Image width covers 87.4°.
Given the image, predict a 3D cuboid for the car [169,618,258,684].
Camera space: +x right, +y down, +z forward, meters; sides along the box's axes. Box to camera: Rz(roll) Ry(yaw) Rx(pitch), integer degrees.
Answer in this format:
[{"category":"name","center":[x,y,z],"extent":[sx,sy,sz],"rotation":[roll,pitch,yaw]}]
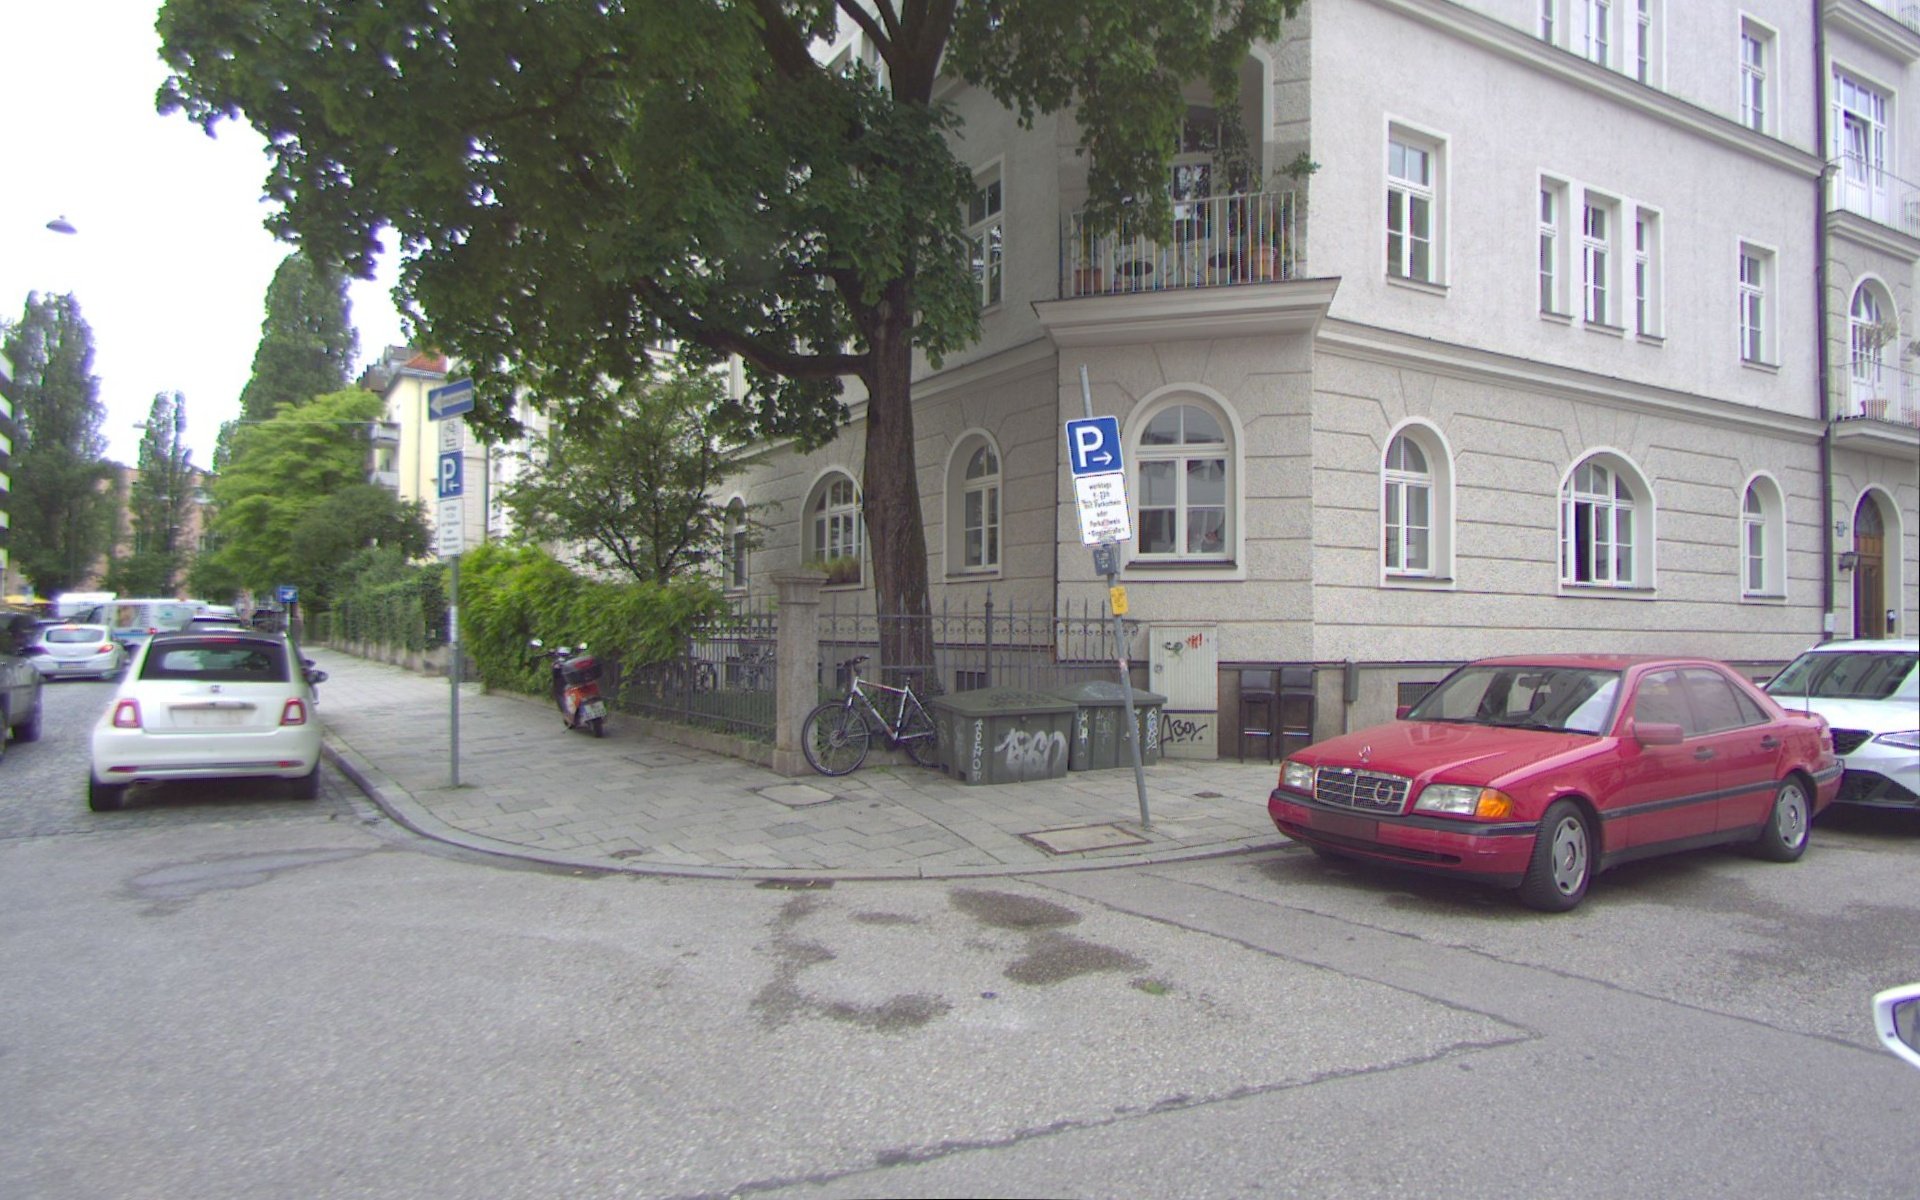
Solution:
[{"category":"car","center":[-22.126,1.459,29.754],"extent":[1.982,1.795,3.957],"rotation":[2,-2,-38]}]

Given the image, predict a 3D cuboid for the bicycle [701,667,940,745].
[{"category":"bicycle","center":[-1.810,1.384,13.544],"extent":[3.185,0.869,0.813],"rotation":[2,-2,-35]}]

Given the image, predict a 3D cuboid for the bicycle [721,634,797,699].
[{"category":"bicycle","center":[-3.950,1.261,19.577],"extent":[0.847,1.159,2.388],"rotation":[1,-2,-27]}]

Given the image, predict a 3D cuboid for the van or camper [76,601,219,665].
[{"category":"van or camper","center":[-28.603,1.129,35.351],"extent":[4.539,2.071,2.097],"rotation":[0,-1,25]}]

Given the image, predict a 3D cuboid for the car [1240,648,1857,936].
[{"category":"car","center":[4.141,1.048,6.882],"extent":[4.426,1.411,1.673],"rotation":[1,-3,-30]}]

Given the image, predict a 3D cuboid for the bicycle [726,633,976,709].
[{"category":"bicycle","center":[-1.310,0.863,12.788],"extent":[3.185,0.869,0.800],"rotation":[2,-2,-35]}]

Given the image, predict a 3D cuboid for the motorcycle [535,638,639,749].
[{"category":"motorcycle","center":[-5.005,1.166,13.341],"extent":[0.805,1.289,2.740],"rotation":[1,-2,-31]}]

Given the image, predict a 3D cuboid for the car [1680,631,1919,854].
[{"category":"car","center":[8.224,1.082,8.870],"extent":[3.907,1.588,1.685],"rotation":[1,-2,-32]}]

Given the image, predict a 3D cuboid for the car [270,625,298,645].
[{"category":"car","center":[-63.814,3.288,94.830],"extent":[1.982,1.806,3.958],"rotation":[1,-2,-37]}]

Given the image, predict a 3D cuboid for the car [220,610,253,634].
[{"category":"car","center":[-56.843,1.762,78.922],"extent":[1.982,1.806,3.957],"rotation":[2,-2,-38]}]

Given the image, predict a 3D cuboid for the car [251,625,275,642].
[{"category":"car","center":[-78.957,3.789,113.814],"extent":[1.982,1.806,3.957],"rotation":[2,-2,-38]}]

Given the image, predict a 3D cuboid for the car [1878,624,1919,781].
[{"category":"car","center":[12.508,1.136,11.435],"extent":[4.162,1.700,1.828],"rotation":[1,-2,-29]}]

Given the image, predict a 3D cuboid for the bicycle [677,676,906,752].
[{"category":"bicycle","center":[-2.323,1.571,14.259],"extent":[3.185,0.869,0.813],"rotation":[2,-2,-35]}]

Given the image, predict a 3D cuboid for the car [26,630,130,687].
[{"category":"car","center":[-23.485,1.508,26.894],"extent":[1.765,1.393,4.384],"rotation":[2,-2,-37]}]

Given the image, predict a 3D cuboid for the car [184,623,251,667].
[{"category":"car","center":[-28.790,1.709,38.899],"extent":[1.982,1.572,3.957],"rotation":[2,-2,-38]}]

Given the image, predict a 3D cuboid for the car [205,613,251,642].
[{"category":"car","center":[-41.438,1.569,56.831],"extent":[1.982,1.572,3.957],"rotation":[2,-2,-38]}]

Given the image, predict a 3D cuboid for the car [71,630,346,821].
[{"category":"car","center":[-7.352,1.072,9.993],"extent":[1.777,1.477,3.960],"rotation":[3,-3,-36]}]

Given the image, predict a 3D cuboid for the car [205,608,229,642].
[{"category":"car","center":[-83.192,2.769,112.417],"extent":[1.982,3.715,6.238],"rotation":[1,-2,-38]}]

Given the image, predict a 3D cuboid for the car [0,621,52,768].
[{"category":"car","center":[-12.126,1.017,11.766],"extent":[1.819,1.542,4.446],"rotation":[2,-2,-37]}]

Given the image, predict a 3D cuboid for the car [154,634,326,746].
[{"category":"car","center":[-10.448,1.200,14.634],"extent":[1.777,1.379,3.960],"rotation":[2,-3,-36]}]

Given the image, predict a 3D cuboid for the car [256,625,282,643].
[{"category":"car","center":[-71.209,3.522,103.556],"extent":[1.982,1.806,3.957],"rotation":[2,-2,-38]}]

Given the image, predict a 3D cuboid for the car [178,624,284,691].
[{"category":"car","center":[-19.382,1.460,26.649],"extent":[1.984,1.572,3.953],"rotation":[2,-1,-40]}]

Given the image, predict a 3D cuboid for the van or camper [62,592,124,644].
[{"category":"van or camper","center":[-48.941,1.019,56.768],"extent":[2.056,2.822,4.385],"rotation":[1,-1,-33]}]

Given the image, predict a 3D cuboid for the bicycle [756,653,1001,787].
[{"category":"bicycle","center":[-0.765,1.157,10.400],"extent":[2.633,1.179,0.796],"rotation":[2,-2,-44]}]

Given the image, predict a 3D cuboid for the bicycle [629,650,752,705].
[{"category":"bicycle","center":[-4.801,1.375,17.966],"extent":[1.934,0.912,0.858],"rotation":[0,-2,10]}]
